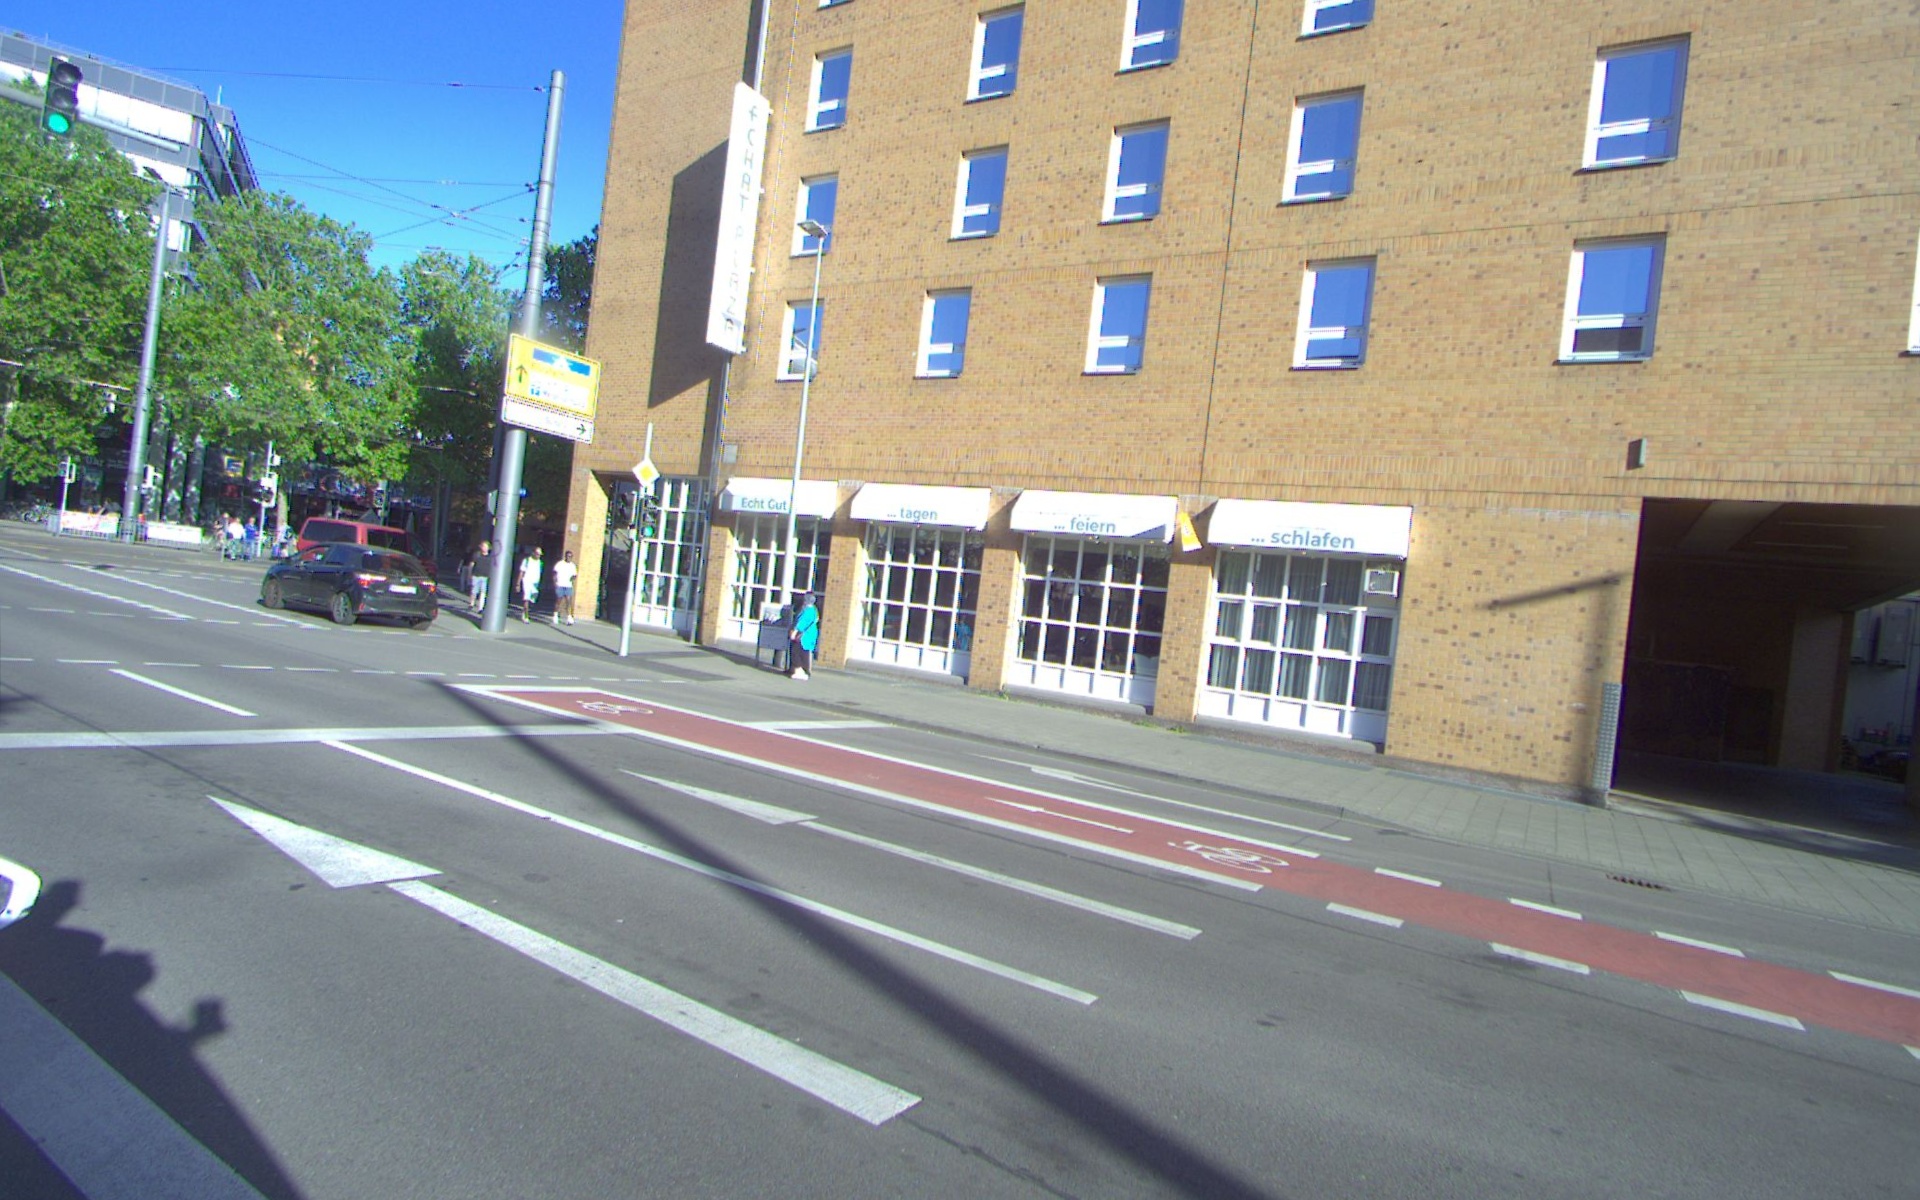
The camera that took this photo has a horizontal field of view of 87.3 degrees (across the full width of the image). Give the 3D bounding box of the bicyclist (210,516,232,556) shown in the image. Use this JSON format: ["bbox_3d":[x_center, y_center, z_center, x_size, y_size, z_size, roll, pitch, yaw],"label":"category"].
[{"bbox_3d":[-36.370,-3.144,49.508,0.396,1.859,0.585,6,-1,31],"label":"bicyclist"}]

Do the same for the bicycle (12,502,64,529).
[{"bbox_3d":[-47.358,-4.338,51.684,0.354,1.058,1.884,6,-2,31],"label":"bicycle"}]

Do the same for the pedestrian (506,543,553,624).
[{"bbox_3d":[-10.082,-0.384,23.571,0.670,1.804,0.593,8,4,28],"label":"pedestrian"}]

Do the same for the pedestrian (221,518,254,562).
[{"bbox_3d":[-27.805,-2.306,38.723,0.689,1.550,0.568,7,-1,14],"label":"pedestrian"}]

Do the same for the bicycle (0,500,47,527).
[{"bbox_3d":[-49.202,-4.537,52.748,0.354,1.058,1.885,7,-2,31],"label":"bicycle"}]

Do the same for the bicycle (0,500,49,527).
[{"bbox_3d":[-48.817,-4.495,52.437,0.354,1.058,1.885,7,-2,31],"label":"bicycle"}]

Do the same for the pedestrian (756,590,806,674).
[{"bbox_3d":[-3.369,0.608,18.969,0.543,1.495,0.593,6,0,32],"label":"pedestrian"}]

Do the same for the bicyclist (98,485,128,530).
[{"bbox_3d":[-37.009,-4.041,43.958,0.717,1.829,0.697,6,-1,36],"label":"bicyclist"}]

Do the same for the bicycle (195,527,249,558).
[{"bbox_3d":[-36.350,-2.824,49.586,0.414,1.228,2.046,6,-2,32],"label":"bicycle"}]

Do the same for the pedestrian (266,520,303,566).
[{"bbox_3d":[-27.825,-2.345,41.441,0.747,1.724,0.834,6,-1,32],"label":"pedestrian"}]

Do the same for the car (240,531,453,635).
[{"bbox_3d":[-12.089,-0.349,19.785,3.971,1.467,1.736,7,-1,29],"label":"car"}]

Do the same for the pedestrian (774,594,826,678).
[{"bbox_3d":[-2.932,0.657,18.440,0.591,1.471,0.592,6,2,32],"label":"pedestrian"}]

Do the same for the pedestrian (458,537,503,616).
[{"bbox_3d":[-11.707,-0.567,24.563,0.726,1.813,0.510,7,-1,-19],"label":"pedestrian"}]

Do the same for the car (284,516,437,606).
[{"bbox_3d":[-16.841,-1.009,28.543,1.778,2.031,4.472,8,-2,-6],"label":"car"}]

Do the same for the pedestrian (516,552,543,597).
[{"bbox_3d":[-17.319,-1.030,40.442,0.636,1.719,0.716,8,-2,-39],"label":"pedestrian"}]

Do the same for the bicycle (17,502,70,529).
[{"bbox_3d":[-46.685,-4.283,51.251,0.354,1.058,1.884,6,-2,31],"label":"bicycle"}]

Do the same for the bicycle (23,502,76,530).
[{"bbox_3d":[-46.022,-4.227,50.864,0.354,1.058,1.884,6,-2,31],"label":"bicycle"}]

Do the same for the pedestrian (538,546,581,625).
[{"bbox_3d":[-9.690,-0.352,24.319,0.673,1.802,0.591,6,1,43],"label":"pedestrian"}]

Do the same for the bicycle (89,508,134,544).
[{"bbox_3d":[-37.052,-3.236,43.917,2.872,1.383,0.726,6,-2,36],"label":"bicycle"}]

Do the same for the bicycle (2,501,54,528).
[{"bbox_3d":[-48.387,-4.435,52.233,0.354,1.058,1.884,6,-2,31],"label":"bicycle"}]

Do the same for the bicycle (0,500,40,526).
[{"bbox_3d":[-50.156,-4.643,53.349,0.354,1.058,1.885,7,-2,31],"label":"bicycle"}]

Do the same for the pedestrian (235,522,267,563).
[{"bbox_3d":[-27.696,-2.238,39.301,0.689,1.496,0.568,7,-1,13],"label":"pedestrian"}]
